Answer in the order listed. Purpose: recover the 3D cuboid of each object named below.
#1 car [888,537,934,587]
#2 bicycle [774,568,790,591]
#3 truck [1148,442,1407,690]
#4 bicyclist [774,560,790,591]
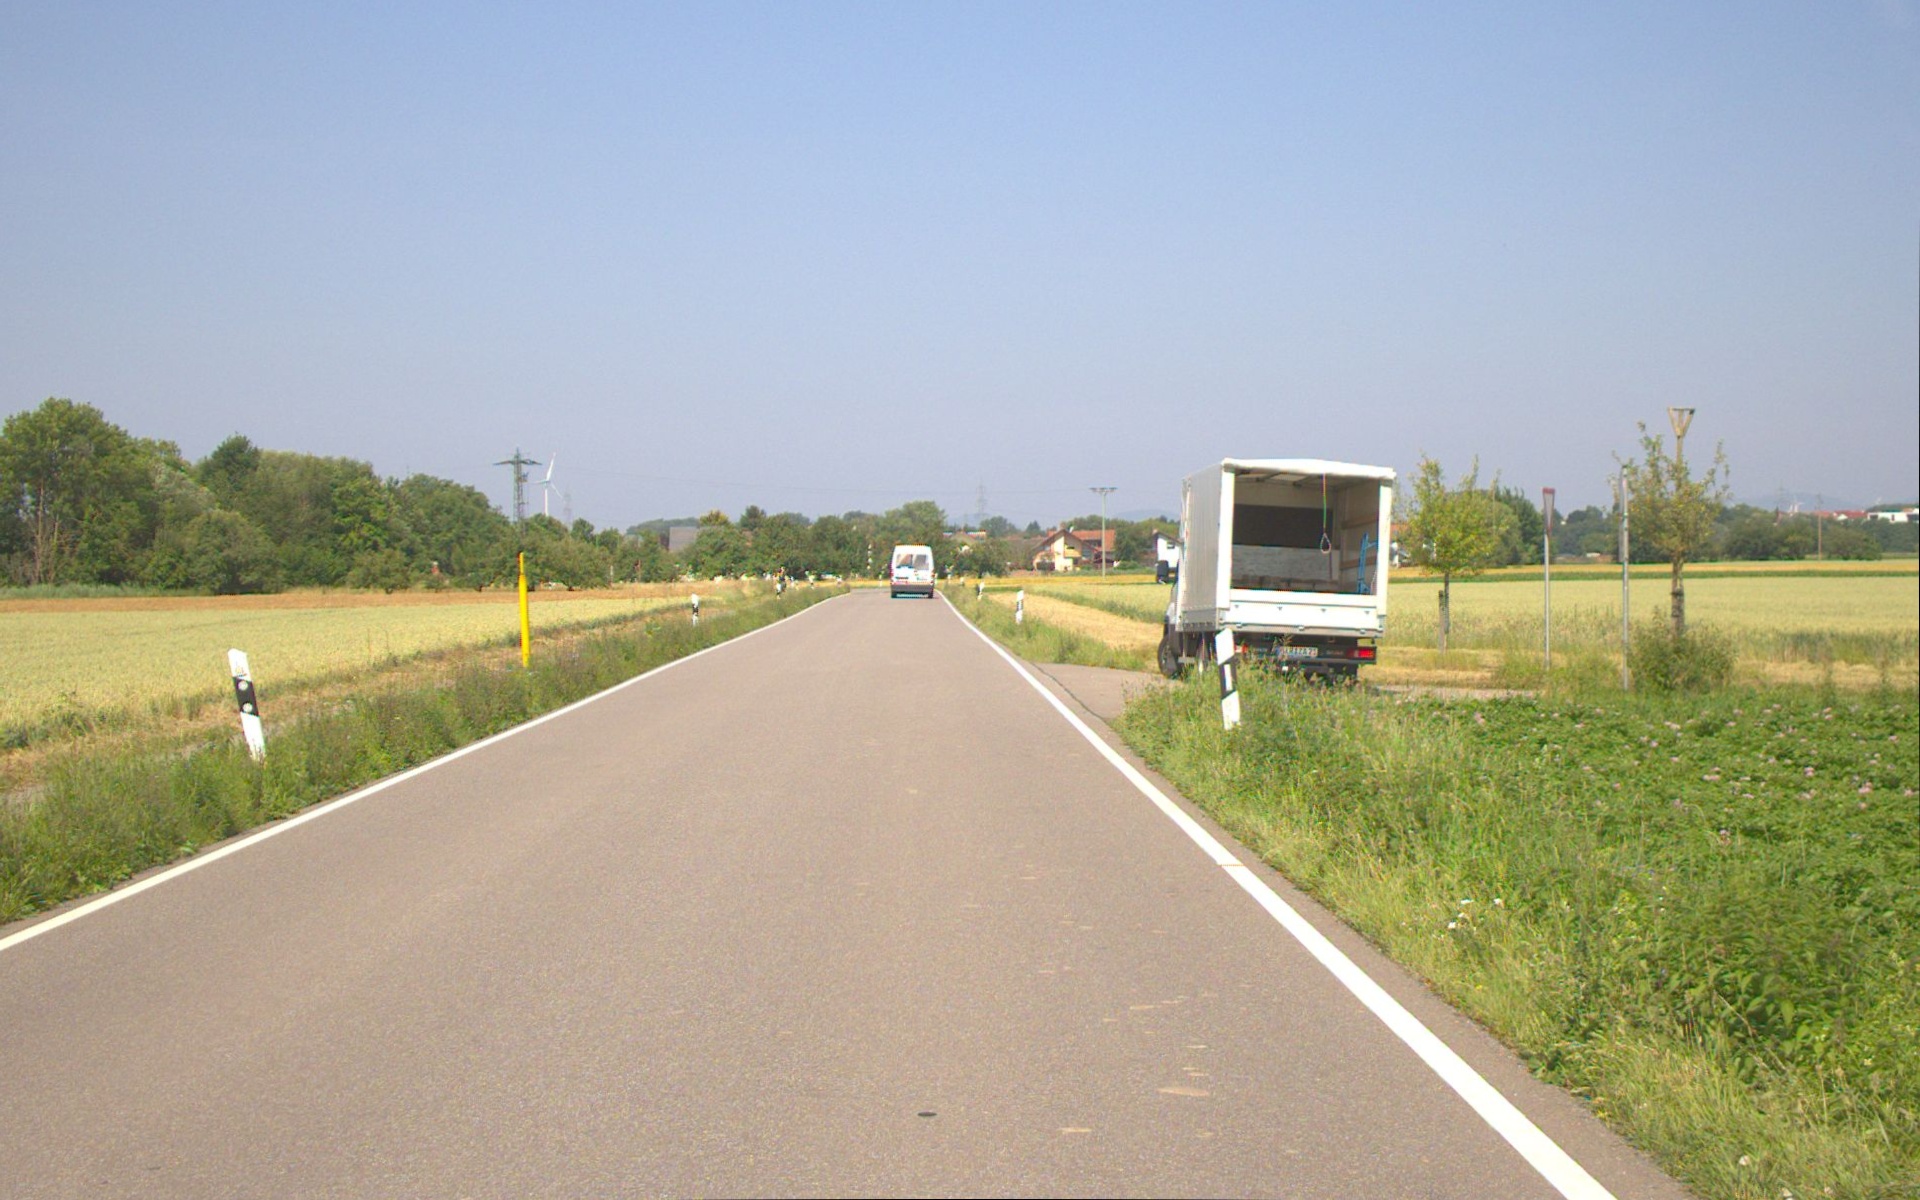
[{"bbox_3d":[-2.342,-1.803,163.121,2.107,2.296,5.496,1,0,-1],"label":"car"},{"bbox_3d":[-9.964,-1.169,192.402,0.759,1.231,2.394,-2,0,-1],"label":"bicycle"},{"bbox_3d":[4.075,-0.443,45.521,2.335,2.932,7.009,3,0,-3],"label":"truck"},{"bbox_3d":[-9.968,-1.377,192.352,0.760,1.667,1.088,-2,0,-1],"label":"bicyclist"}]
